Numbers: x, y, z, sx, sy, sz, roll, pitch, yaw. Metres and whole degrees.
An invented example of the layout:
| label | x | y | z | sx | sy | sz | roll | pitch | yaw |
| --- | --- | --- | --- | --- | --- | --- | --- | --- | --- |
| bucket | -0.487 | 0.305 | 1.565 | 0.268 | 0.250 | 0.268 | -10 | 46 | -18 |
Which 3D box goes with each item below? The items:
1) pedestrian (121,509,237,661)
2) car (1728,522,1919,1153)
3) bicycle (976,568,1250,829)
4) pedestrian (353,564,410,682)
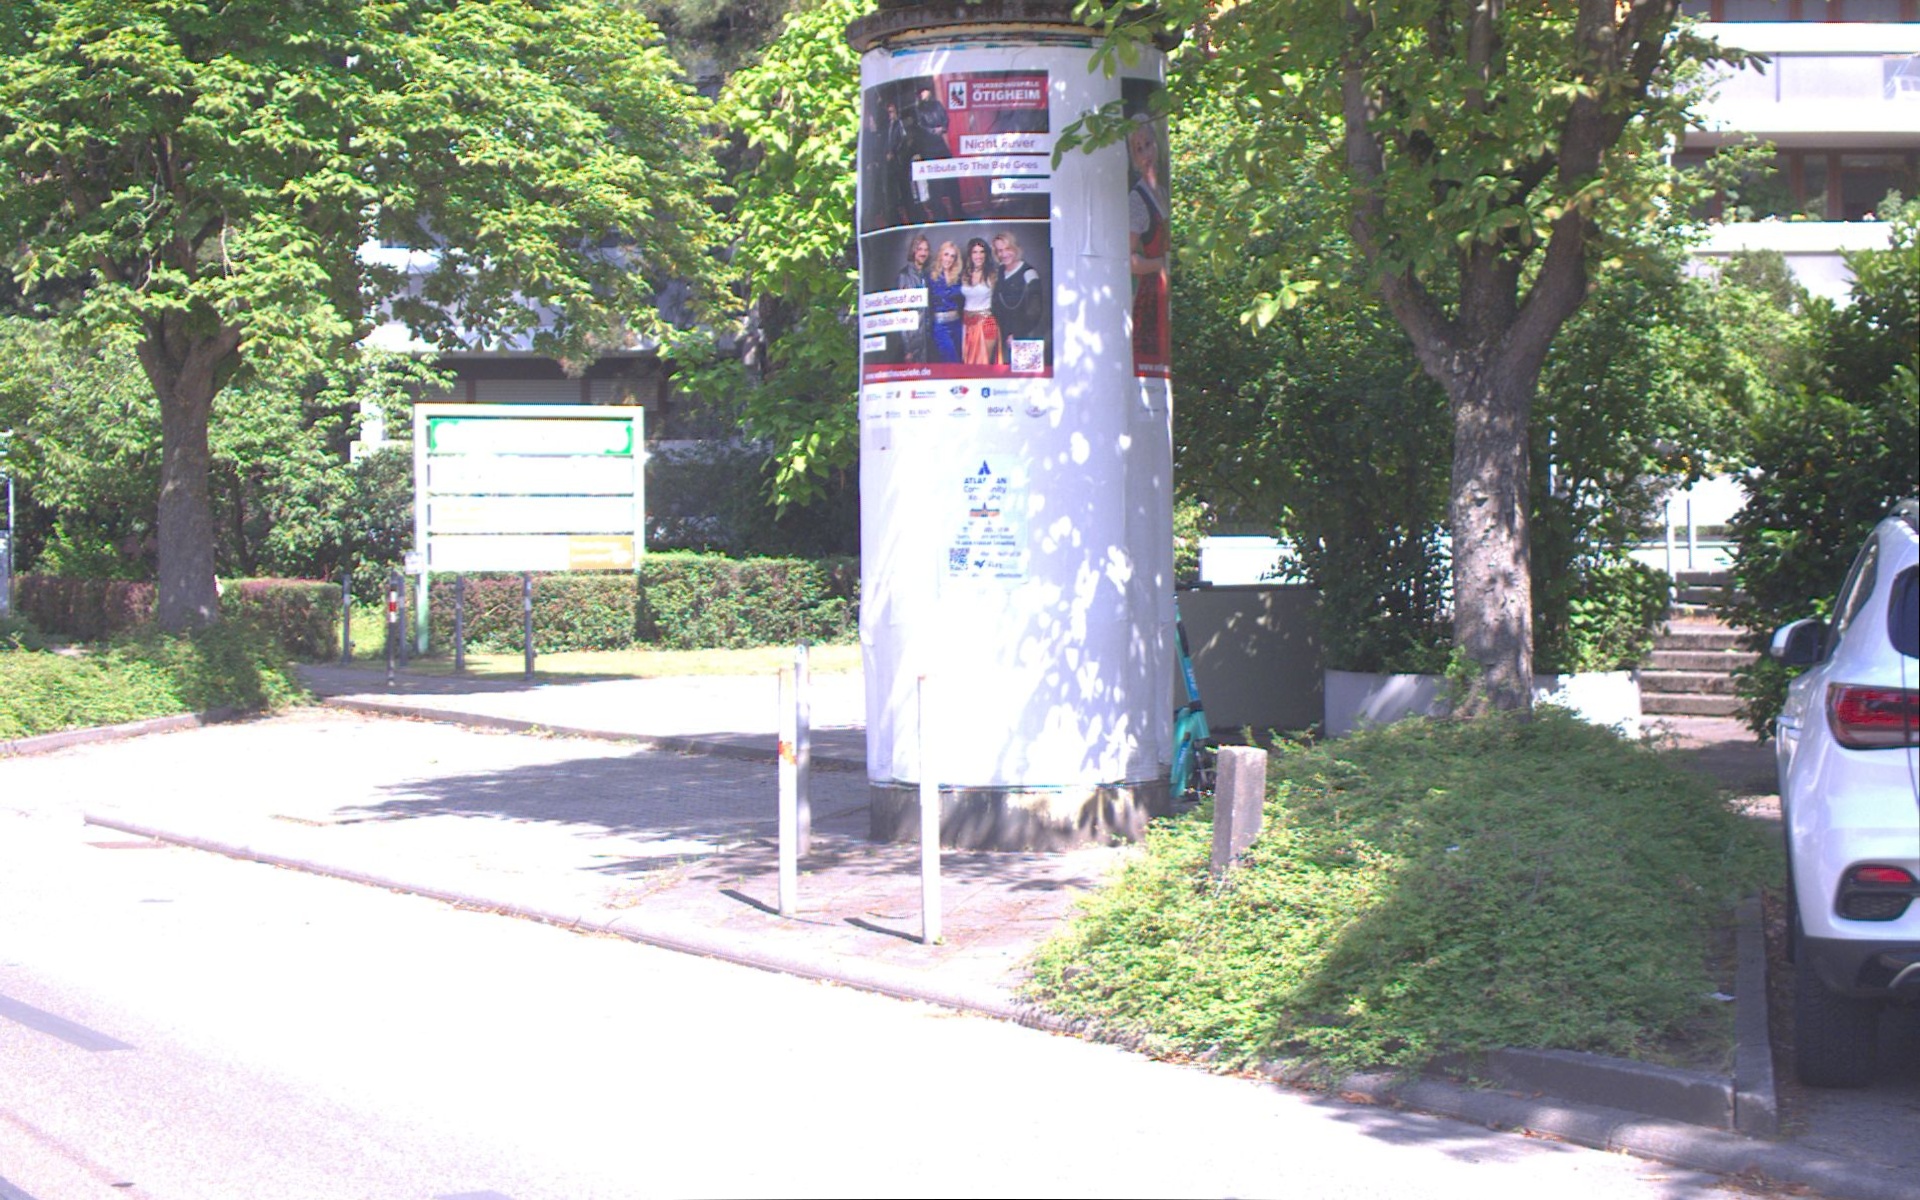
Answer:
| label | x | y | z | sx | sy | sz | roll | pitch | yaw |
| --- | --- | --- | --- | --- | --- | --- | --- | --- | --- |
| pedestrian | -9.433 | -0.185 | 41.496 | 1.056 | 1.792 | 1.265 | 1 | 0 | -27 |
| car | 3.326 | 0.559 | 10.539 | 1.815 | 1.601 | 3.943 | -2 | 0 | 12 |
| bicycle | 0.786 | 0.486 | 18.056 | 0.545 | 1.304 | 1.621 | 0 | 1 | -36 |
| pedestrian | -5.706 | 0.220 | 33.920 | 0.532 | 1.150 | 0.701 | 0 | 1 | -9 |
